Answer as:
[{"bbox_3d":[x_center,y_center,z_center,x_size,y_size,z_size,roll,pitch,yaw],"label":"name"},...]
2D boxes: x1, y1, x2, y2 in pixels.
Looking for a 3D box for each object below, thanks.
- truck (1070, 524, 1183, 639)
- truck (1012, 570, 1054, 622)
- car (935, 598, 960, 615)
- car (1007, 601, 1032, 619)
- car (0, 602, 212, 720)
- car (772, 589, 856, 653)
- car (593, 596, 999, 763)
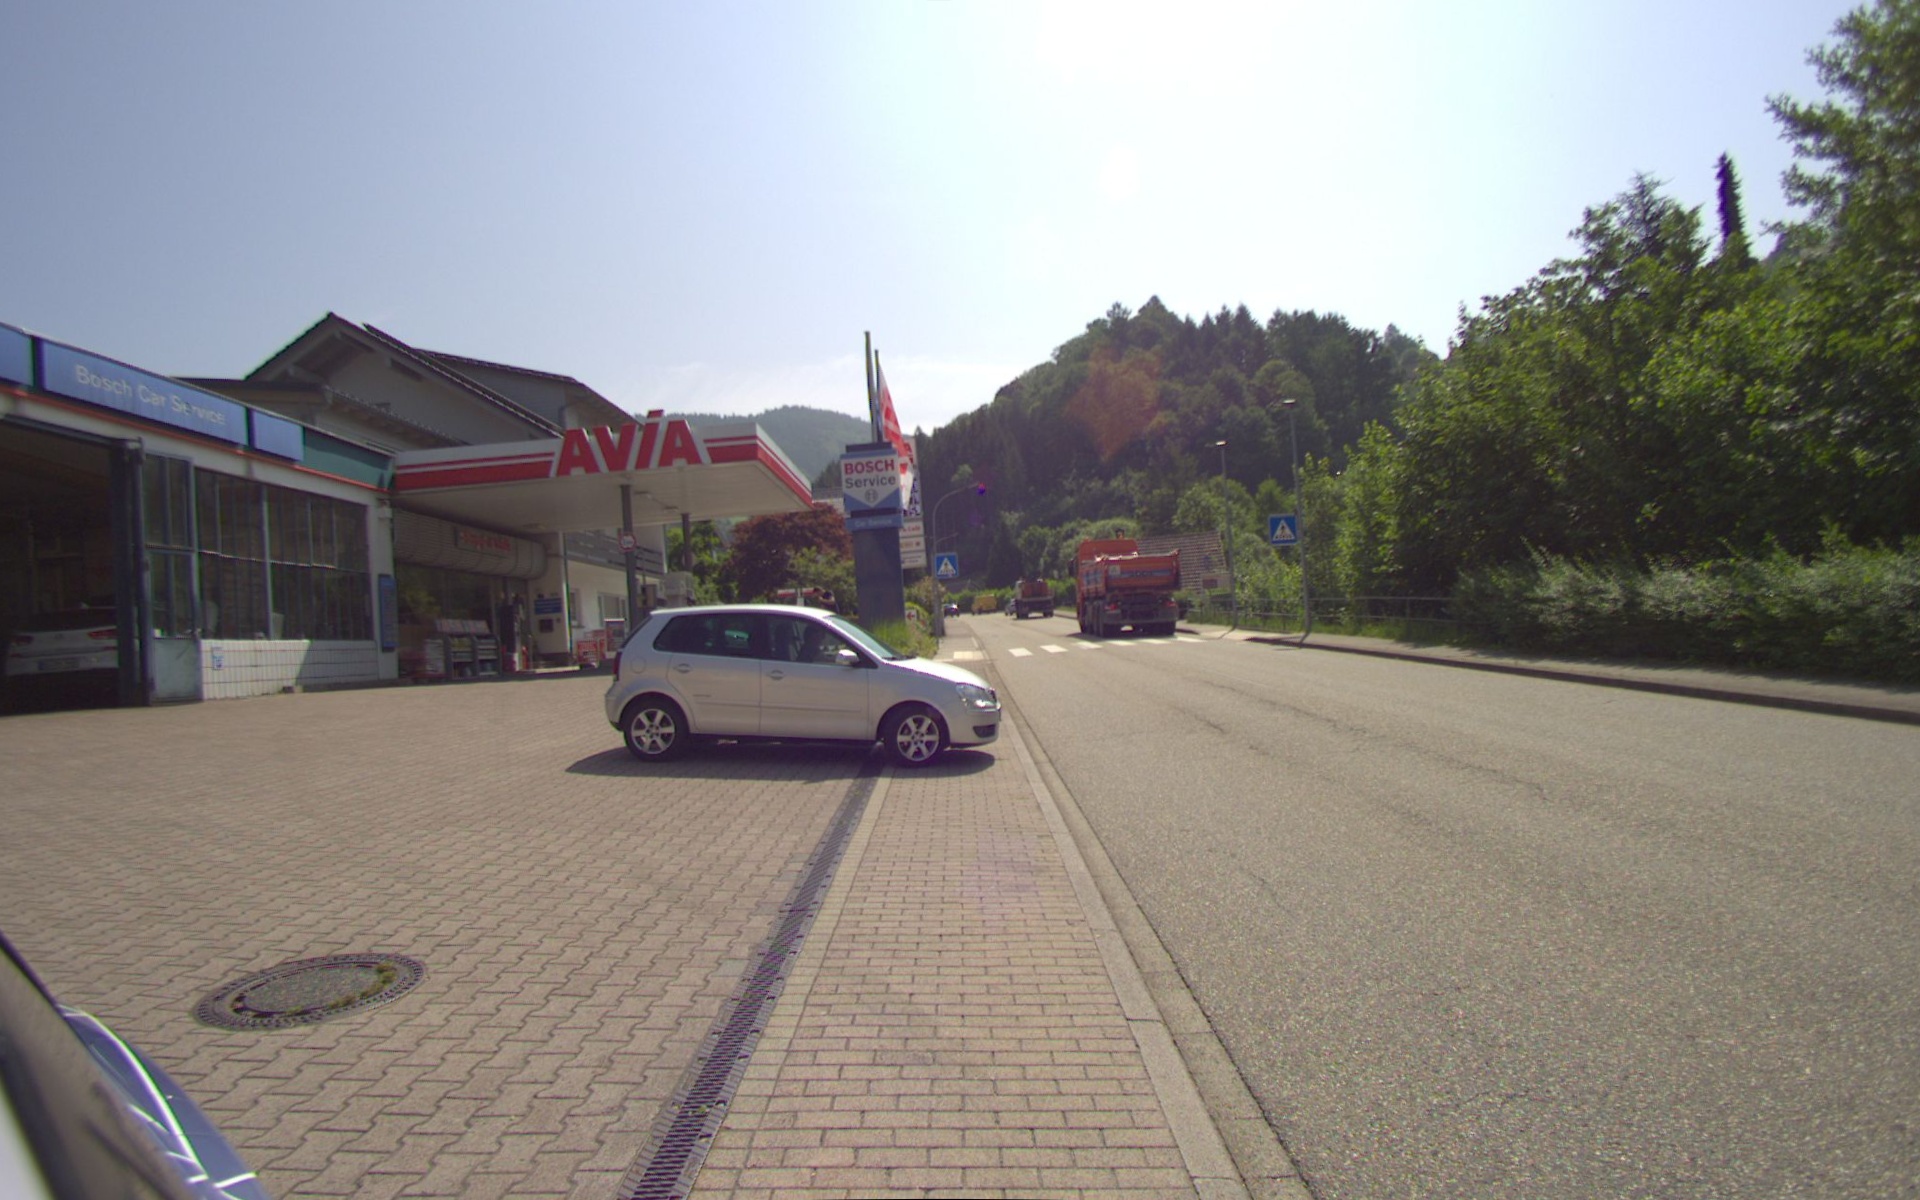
[{"bbox_3d":[5.820,-0.594,36.800,2.616,3.609,8.192,-3,0,0],"label":"truck"},{"bbox_3d":[5.383,-0.277,76.056,2.617,3.609,7.769,-3,0,1],"label":"truck"},{"bbox_3d":[-1.382,0.668,110.046,1.835,1.791,3.713,-1,0,-14],"label":"car"},{"bbox_3d":[5.185,0.870,88.867,1.762,1.586,3.601,-1,0,-3],"label":"car"},{"bbox_3d":[-14.058,0.901,16.799,1.578,1.701,3.943,-1,0,-20],"label":"car"},{"bbox_3d":[-3.879,0.527,27.431,1.674,1.589,3.910,-1,0,1],"label":"car"},{"bbox_3d":[-1.476,0.712,9.964,3.708,1.493,1.594,0,0,4],"label":"car"}]
